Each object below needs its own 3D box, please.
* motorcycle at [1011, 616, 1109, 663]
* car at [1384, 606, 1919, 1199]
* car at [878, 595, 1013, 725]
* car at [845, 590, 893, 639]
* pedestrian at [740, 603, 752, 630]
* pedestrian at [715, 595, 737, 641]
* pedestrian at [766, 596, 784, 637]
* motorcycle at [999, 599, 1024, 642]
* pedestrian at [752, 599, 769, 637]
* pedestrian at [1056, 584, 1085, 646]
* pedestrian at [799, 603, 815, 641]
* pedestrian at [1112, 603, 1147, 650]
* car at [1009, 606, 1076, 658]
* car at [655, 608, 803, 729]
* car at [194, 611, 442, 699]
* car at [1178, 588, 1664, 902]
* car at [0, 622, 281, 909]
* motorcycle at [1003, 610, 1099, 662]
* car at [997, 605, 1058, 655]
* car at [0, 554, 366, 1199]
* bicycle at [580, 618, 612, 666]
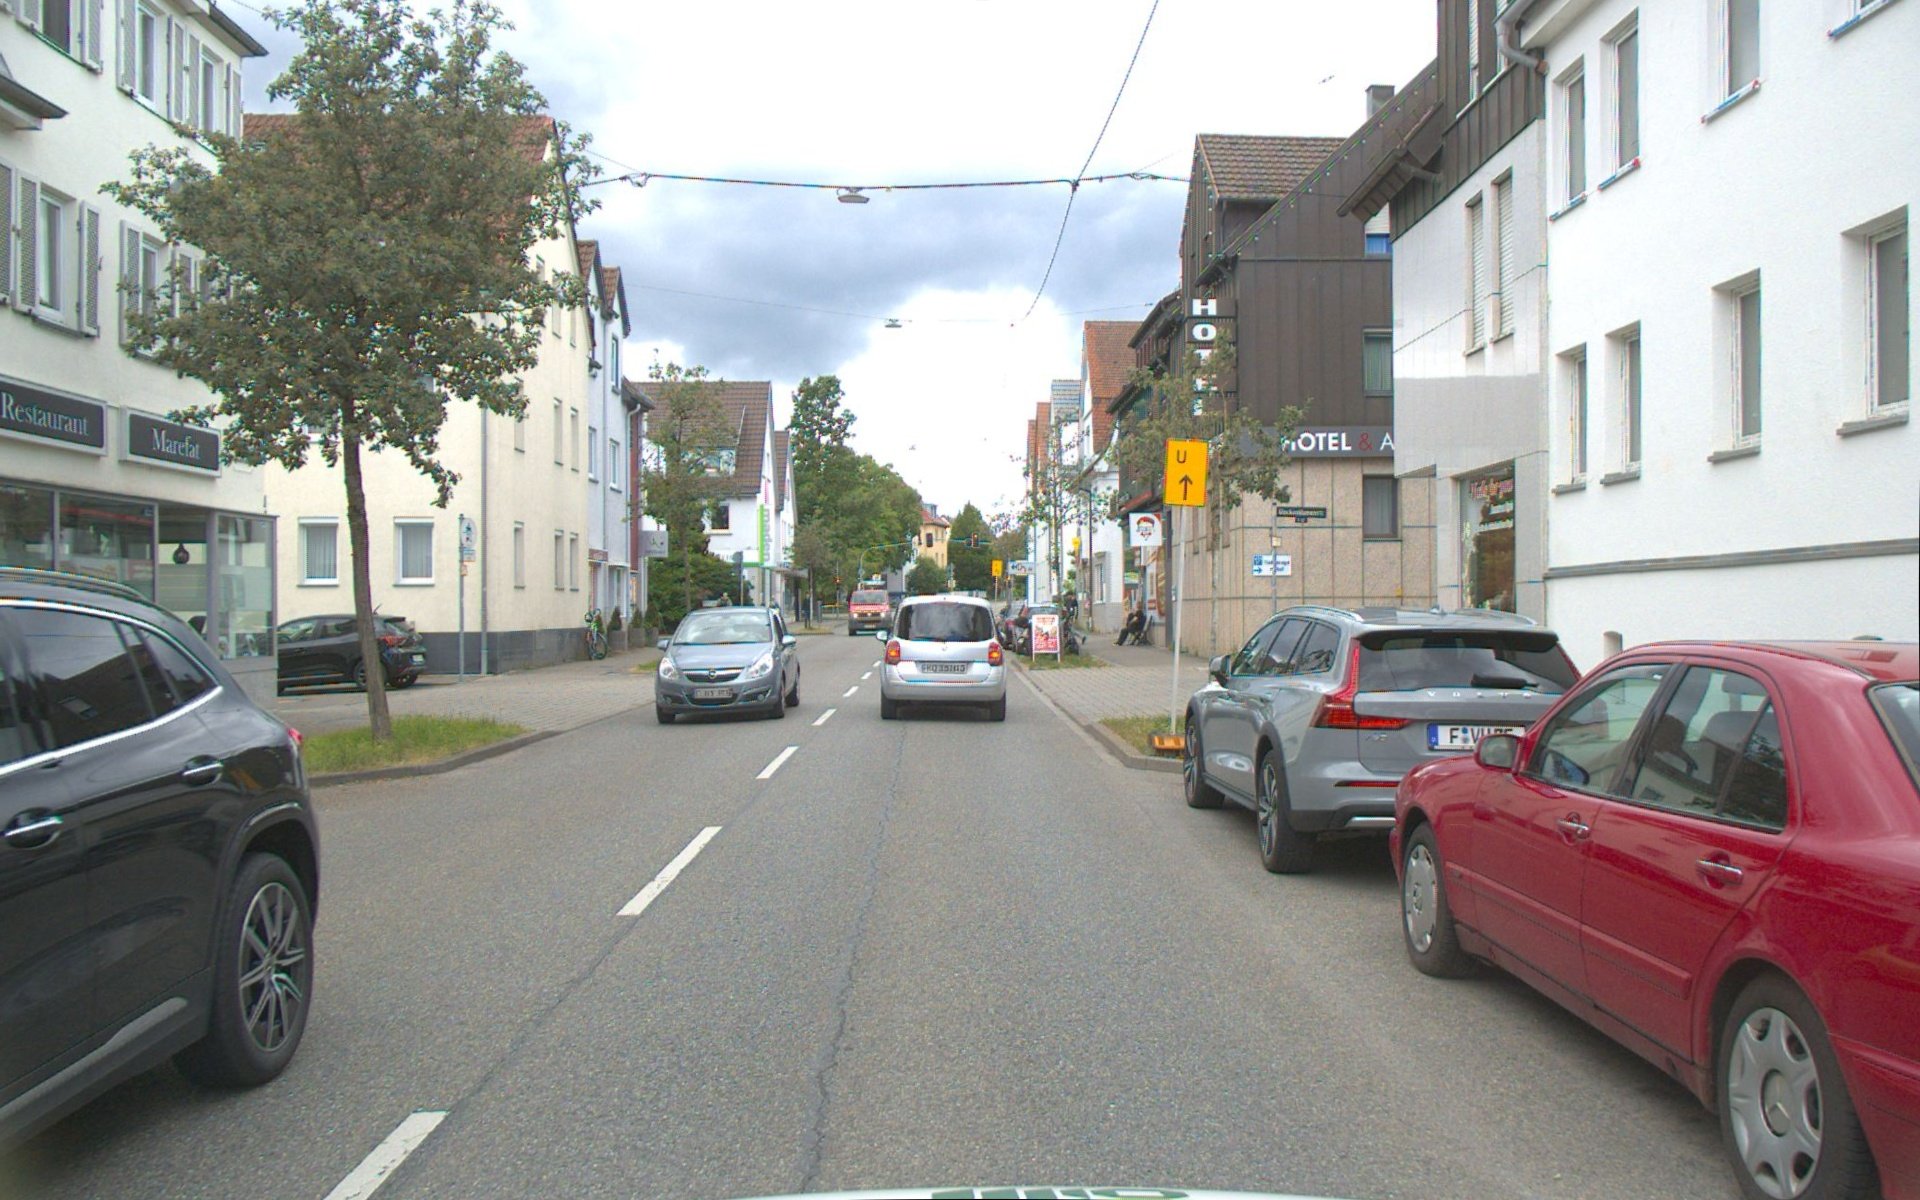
[{"bbox_3d":[2.663,1.052,43.886,2.701,1.204,0.693,1,-1,-32],"label":"motorcycle"},{"bbox_3d":[2.832,0.773,4.984,1.720,1.471,4.451,1,0,-4],"label":"car"},{"bbox_3d":[-0.180,0.763,22.564,1.648,1.593,3.993,1,0,0],"label":"car"},{"bbox_3d":[-3.923,0.649,71.948,1.913,2.049,3.999,1,-1,-1],"label":"car"},{"bbox_3d":[-10.093,0.775,78.016,0.482,1.300,0.588,1,-1,-1],"label":"pedestrian"},{"bbox_3d":[-9.368,0.727,66.277,0.747,1.823,0.889,1,-1,-1],"label":"pedestrian"},{"bbox_3d":[-8.647,0.762,77.424,0.746,1.909,0.695,1,-1,-1],"label":"pedestrian"},{"bbox_3d":[2.058,0.810,65.243,0.683,1.667,2.411,1,-1,9],"label":"motorcycle"},{"bbox_3d":[-9.376,0.846,77.825,0.702,1.787,0.695,1,-1,-1],"label":"pedestrian"},{"bbox_3d":[3.549,0.491,53.173,0.839,1.962,0.899,1,-1,-1],"label":"pedestrian"},{"bbox_3d":[-7.714,1.092,83.435,0.702,1.909,0.695,1,-1,-1],"label":"pedestrian"},{"bbox_3d":[5.098,0.791,49.871,0.869,1.323,0.966,-4,-1,-1],"label":"pedestrian"},{"bbox_3d":[2.371,0.908,48.077,1.666,1.455,3.889,1,-1,-1],"label":"car"},{"bbox_3d":[-3.101,0.879,22.857,1.649,1.473,4.017,-2,0,-3],"label":"car"},{"bbox_3d":[-11.857,1.003,30.742,3.908,1.561,1.734,1,-1,-4],"label":"car"},{"bbox_3d":[2.630,0.751,10.608,1.837,1.566,4.512,1,-1,0],"label":"car"},{"bbox_3d":[-5.891,0.914,10.549,1.649,1.473,4.017,-2,0,-4],"label":"car"},{"bbox_3d":[2.478,0.981,44.929,2.680,1.359,0.693,1,-1,-32],"label":"motorcycle"},{"bbox_3d":[2.115,0.936,52.884,1.666,1.493,4.237,1,-1,-1],"label":"car"},{"bbox_3d":[-2.995,0.733,3.779,1.758,1.606,4.191,-2,0,-1],"label":"car"},{"bbox_3d":[-9.167,1.055,41.669,0.504,1.174,1.665,1,-1,-3],"label":"bicycle"}]
